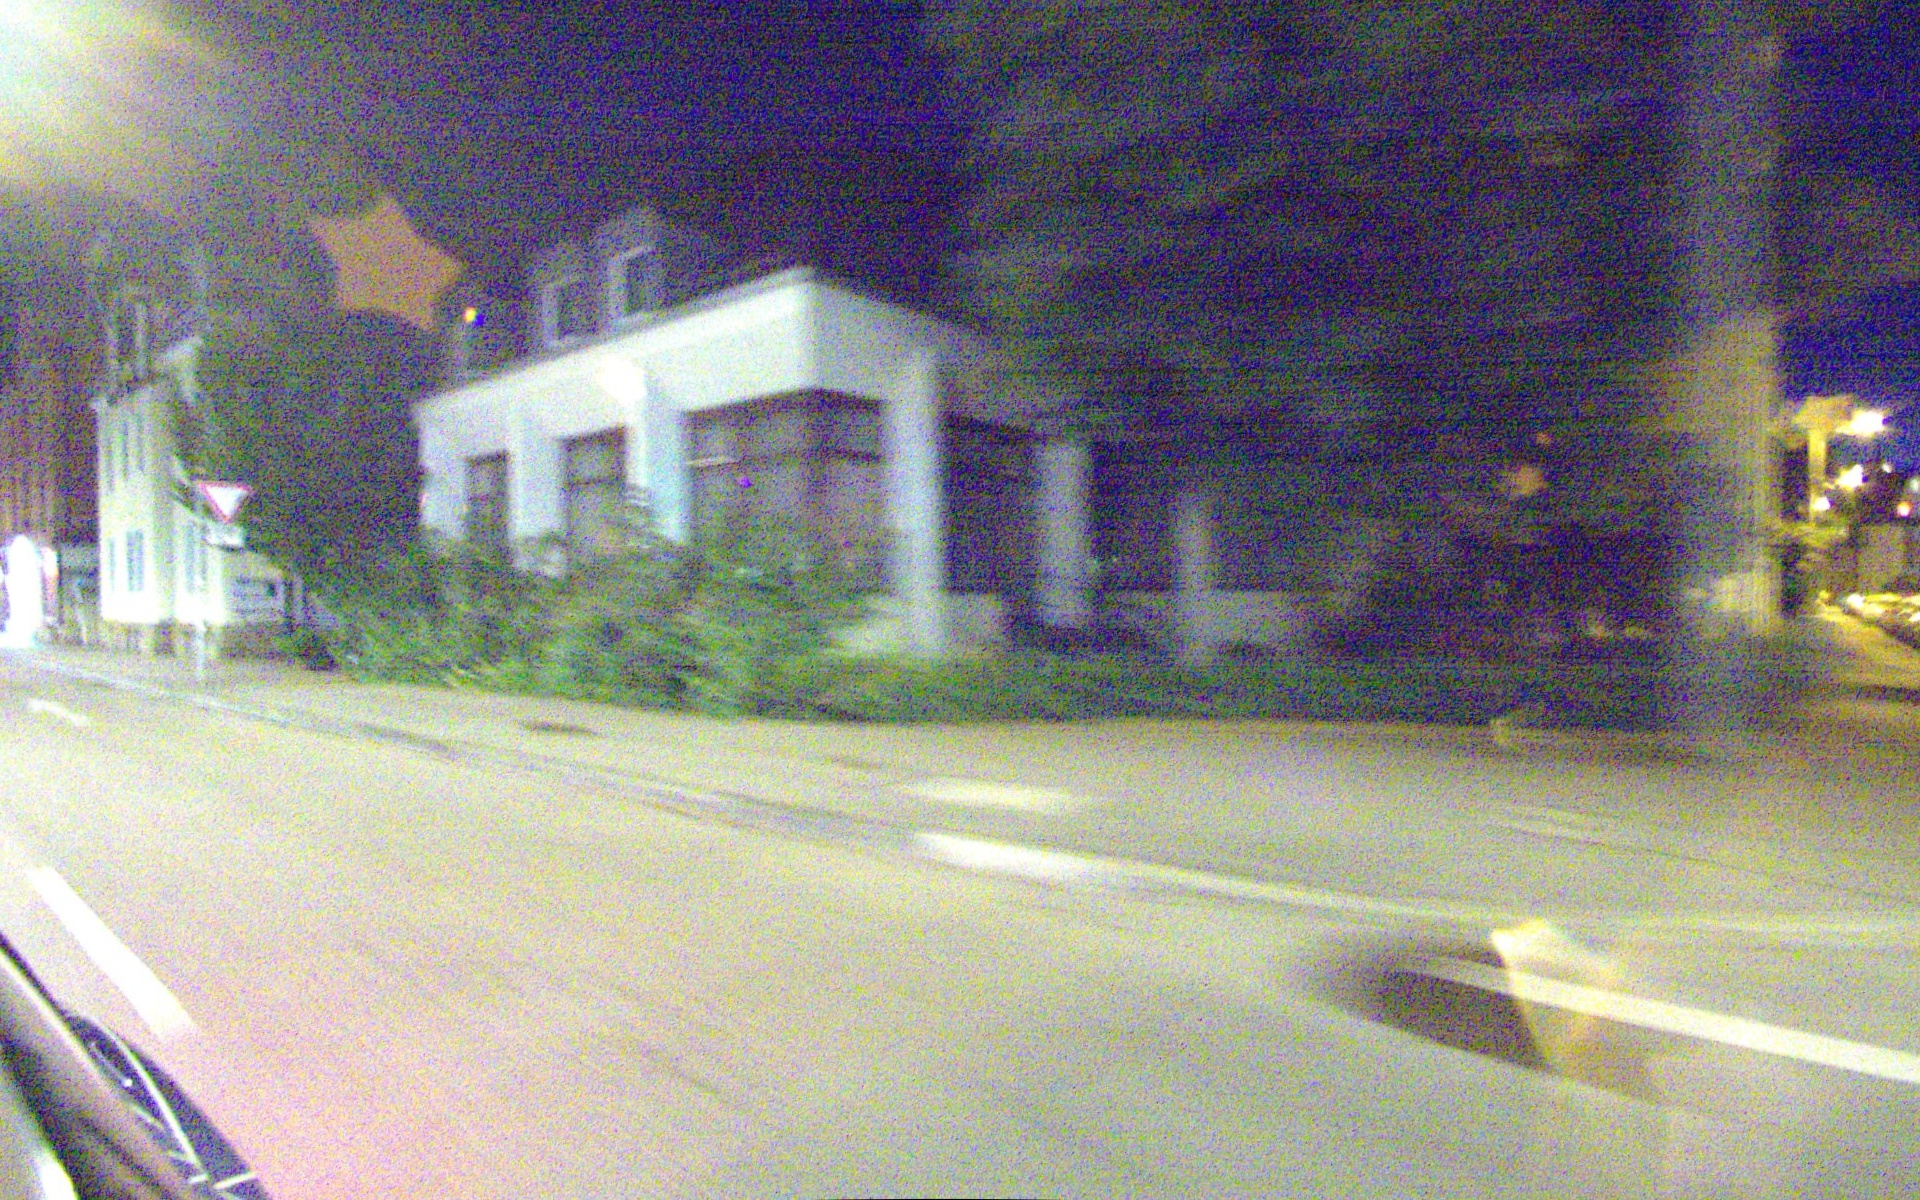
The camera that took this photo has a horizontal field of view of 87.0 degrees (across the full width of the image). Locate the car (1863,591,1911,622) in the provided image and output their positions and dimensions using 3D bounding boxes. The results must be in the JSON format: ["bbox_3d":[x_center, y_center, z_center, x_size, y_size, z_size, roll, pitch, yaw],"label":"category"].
[{"bbox_3d":[50.265,0.366,54.902,1.695,1.627,3.642,0,-1,39],"label":"car"}]

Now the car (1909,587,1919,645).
[{"bbox_3d":[26.220,0.387,26.324,1.901,1.517,3.947,-2,-1,39],"label":"car"}]

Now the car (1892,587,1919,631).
[{"bbox_3d":[33.485,0.314,34.804,1.862,1.481,3.947,0,-1,39],"label":"car"}]

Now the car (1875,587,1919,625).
[{"bbox_3d":[39.985,0.266,42.659,1.861,1.549,3.947,0,-1,39],"label":"car"}]

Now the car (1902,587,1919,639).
[{"bbox_3d":[29.764,0.362,30.544,1.828,1.517,3.944,-2,-1,42],"label":"car"}]

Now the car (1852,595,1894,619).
[{"bbox_3d":[62.198,0.480,68.985,1.899,1.559,3.743,0,-1,39],"label":"car"}]

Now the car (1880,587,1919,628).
[{"bbox_3d":[36.545,0.289,38.720,1.798,1.530,3.636,0,-1,39],"label":"car"}]
